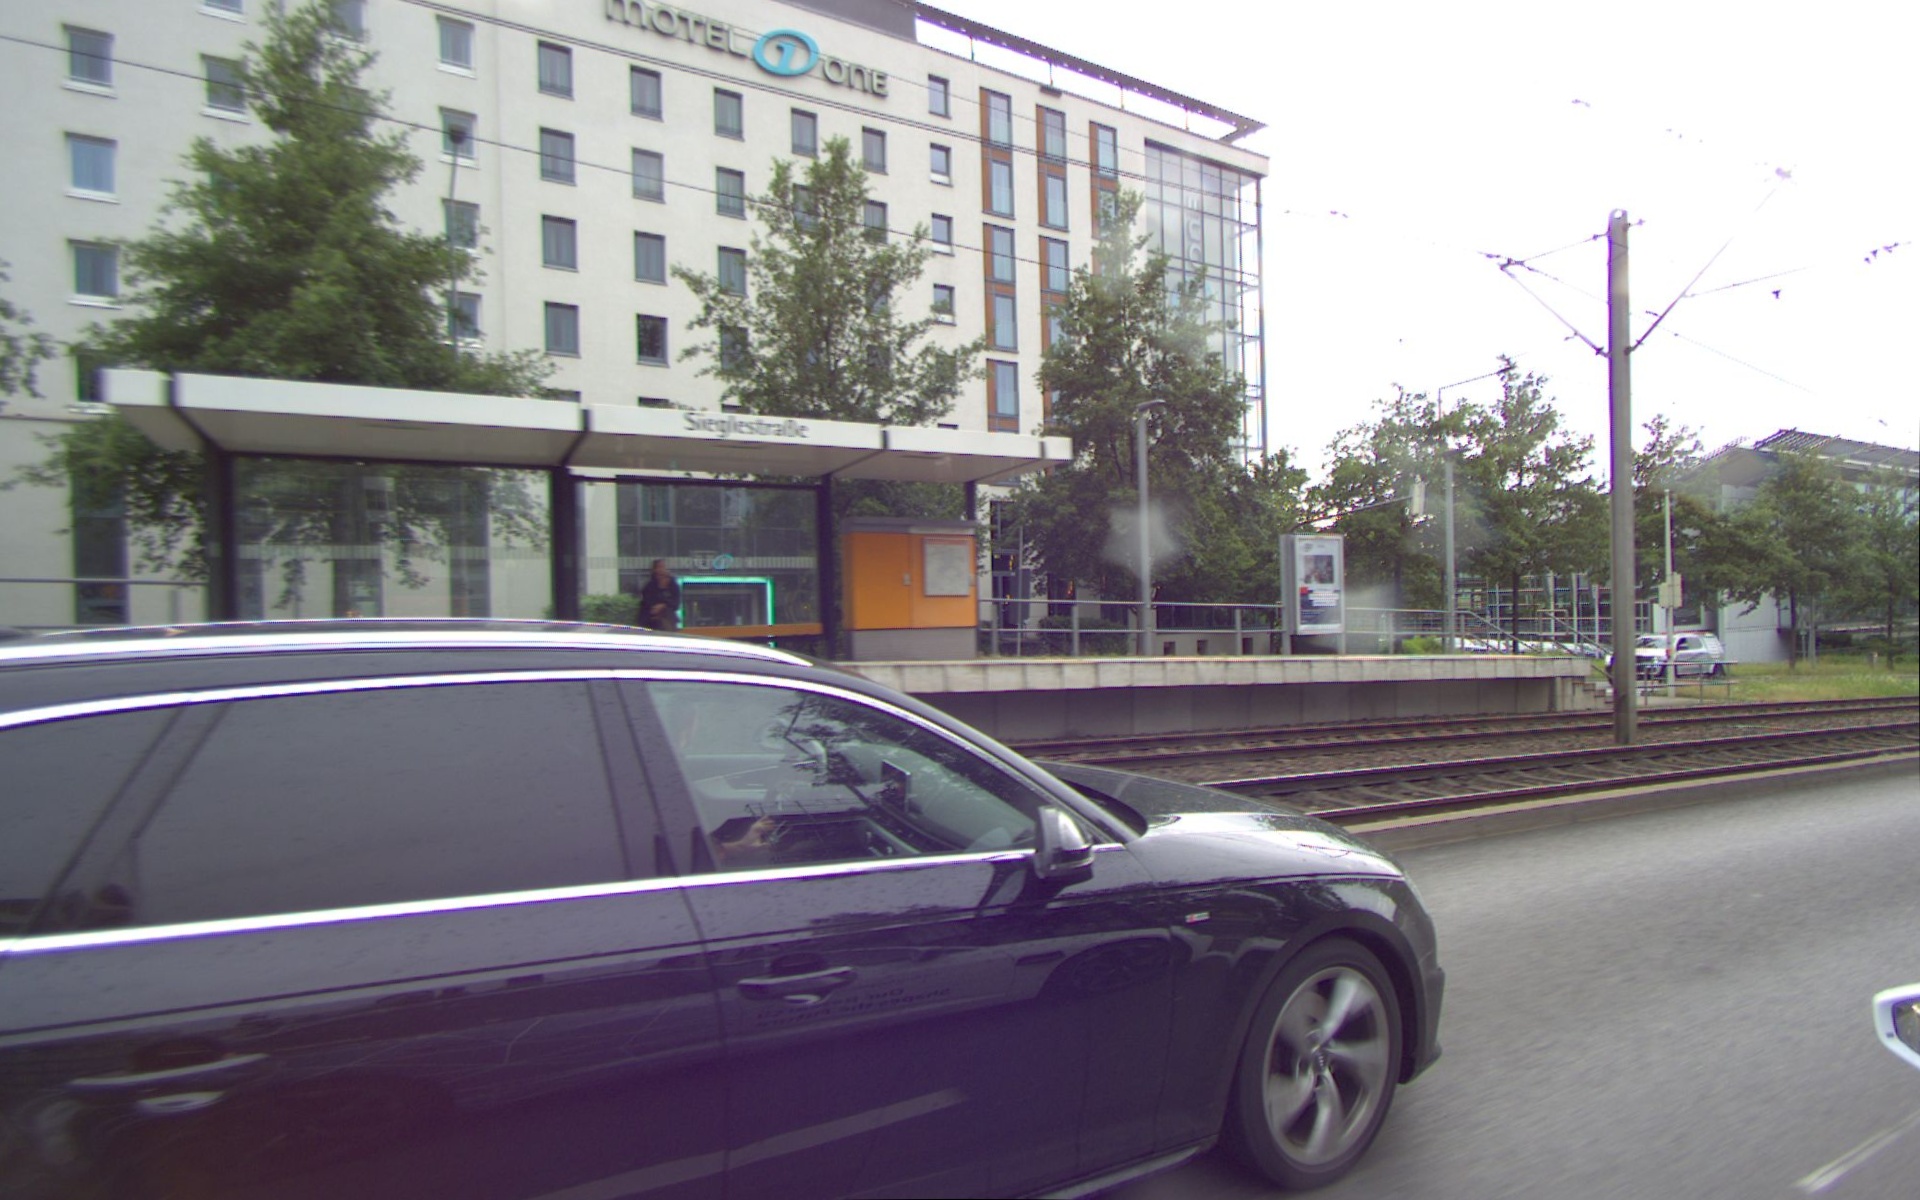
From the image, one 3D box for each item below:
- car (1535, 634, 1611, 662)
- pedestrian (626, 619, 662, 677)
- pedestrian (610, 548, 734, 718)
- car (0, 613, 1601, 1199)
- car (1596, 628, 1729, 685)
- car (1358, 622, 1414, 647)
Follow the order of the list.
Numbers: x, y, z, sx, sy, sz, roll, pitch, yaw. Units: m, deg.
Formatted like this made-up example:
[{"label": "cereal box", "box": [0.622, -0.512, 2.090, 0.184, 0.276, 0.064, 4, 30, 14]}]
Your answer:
[{"label": "car", "box": [40.846, 3.156, 67.023, 1.617, 1.639, 4.038, 2, 0, -27]}, {"label": "pedestrian", "box": [-8.964, 1.347, 28.487, 0.825, 1.599, 0.597, 2, 0, -31]}, {"label": "pedestrian", "box": [-3.703, 0.413, 12.888, 1.255, 2.040, 1.121, 2, 0, -30]}, {"label": "car", "box": [-0.574, 0.788, 2.625, 4.770, 1.453, 1.782, 1, -1, -30]}, {"label": "car", "box": [24.991, 1.973, 35.678, 4.943, 1.871, 1.984, 1, -3, -30]}, {"label": "car", "box": [35.089, 2.817, 82.809, 1.839, 1.861, 4.056, 2, 0, -27]}]
